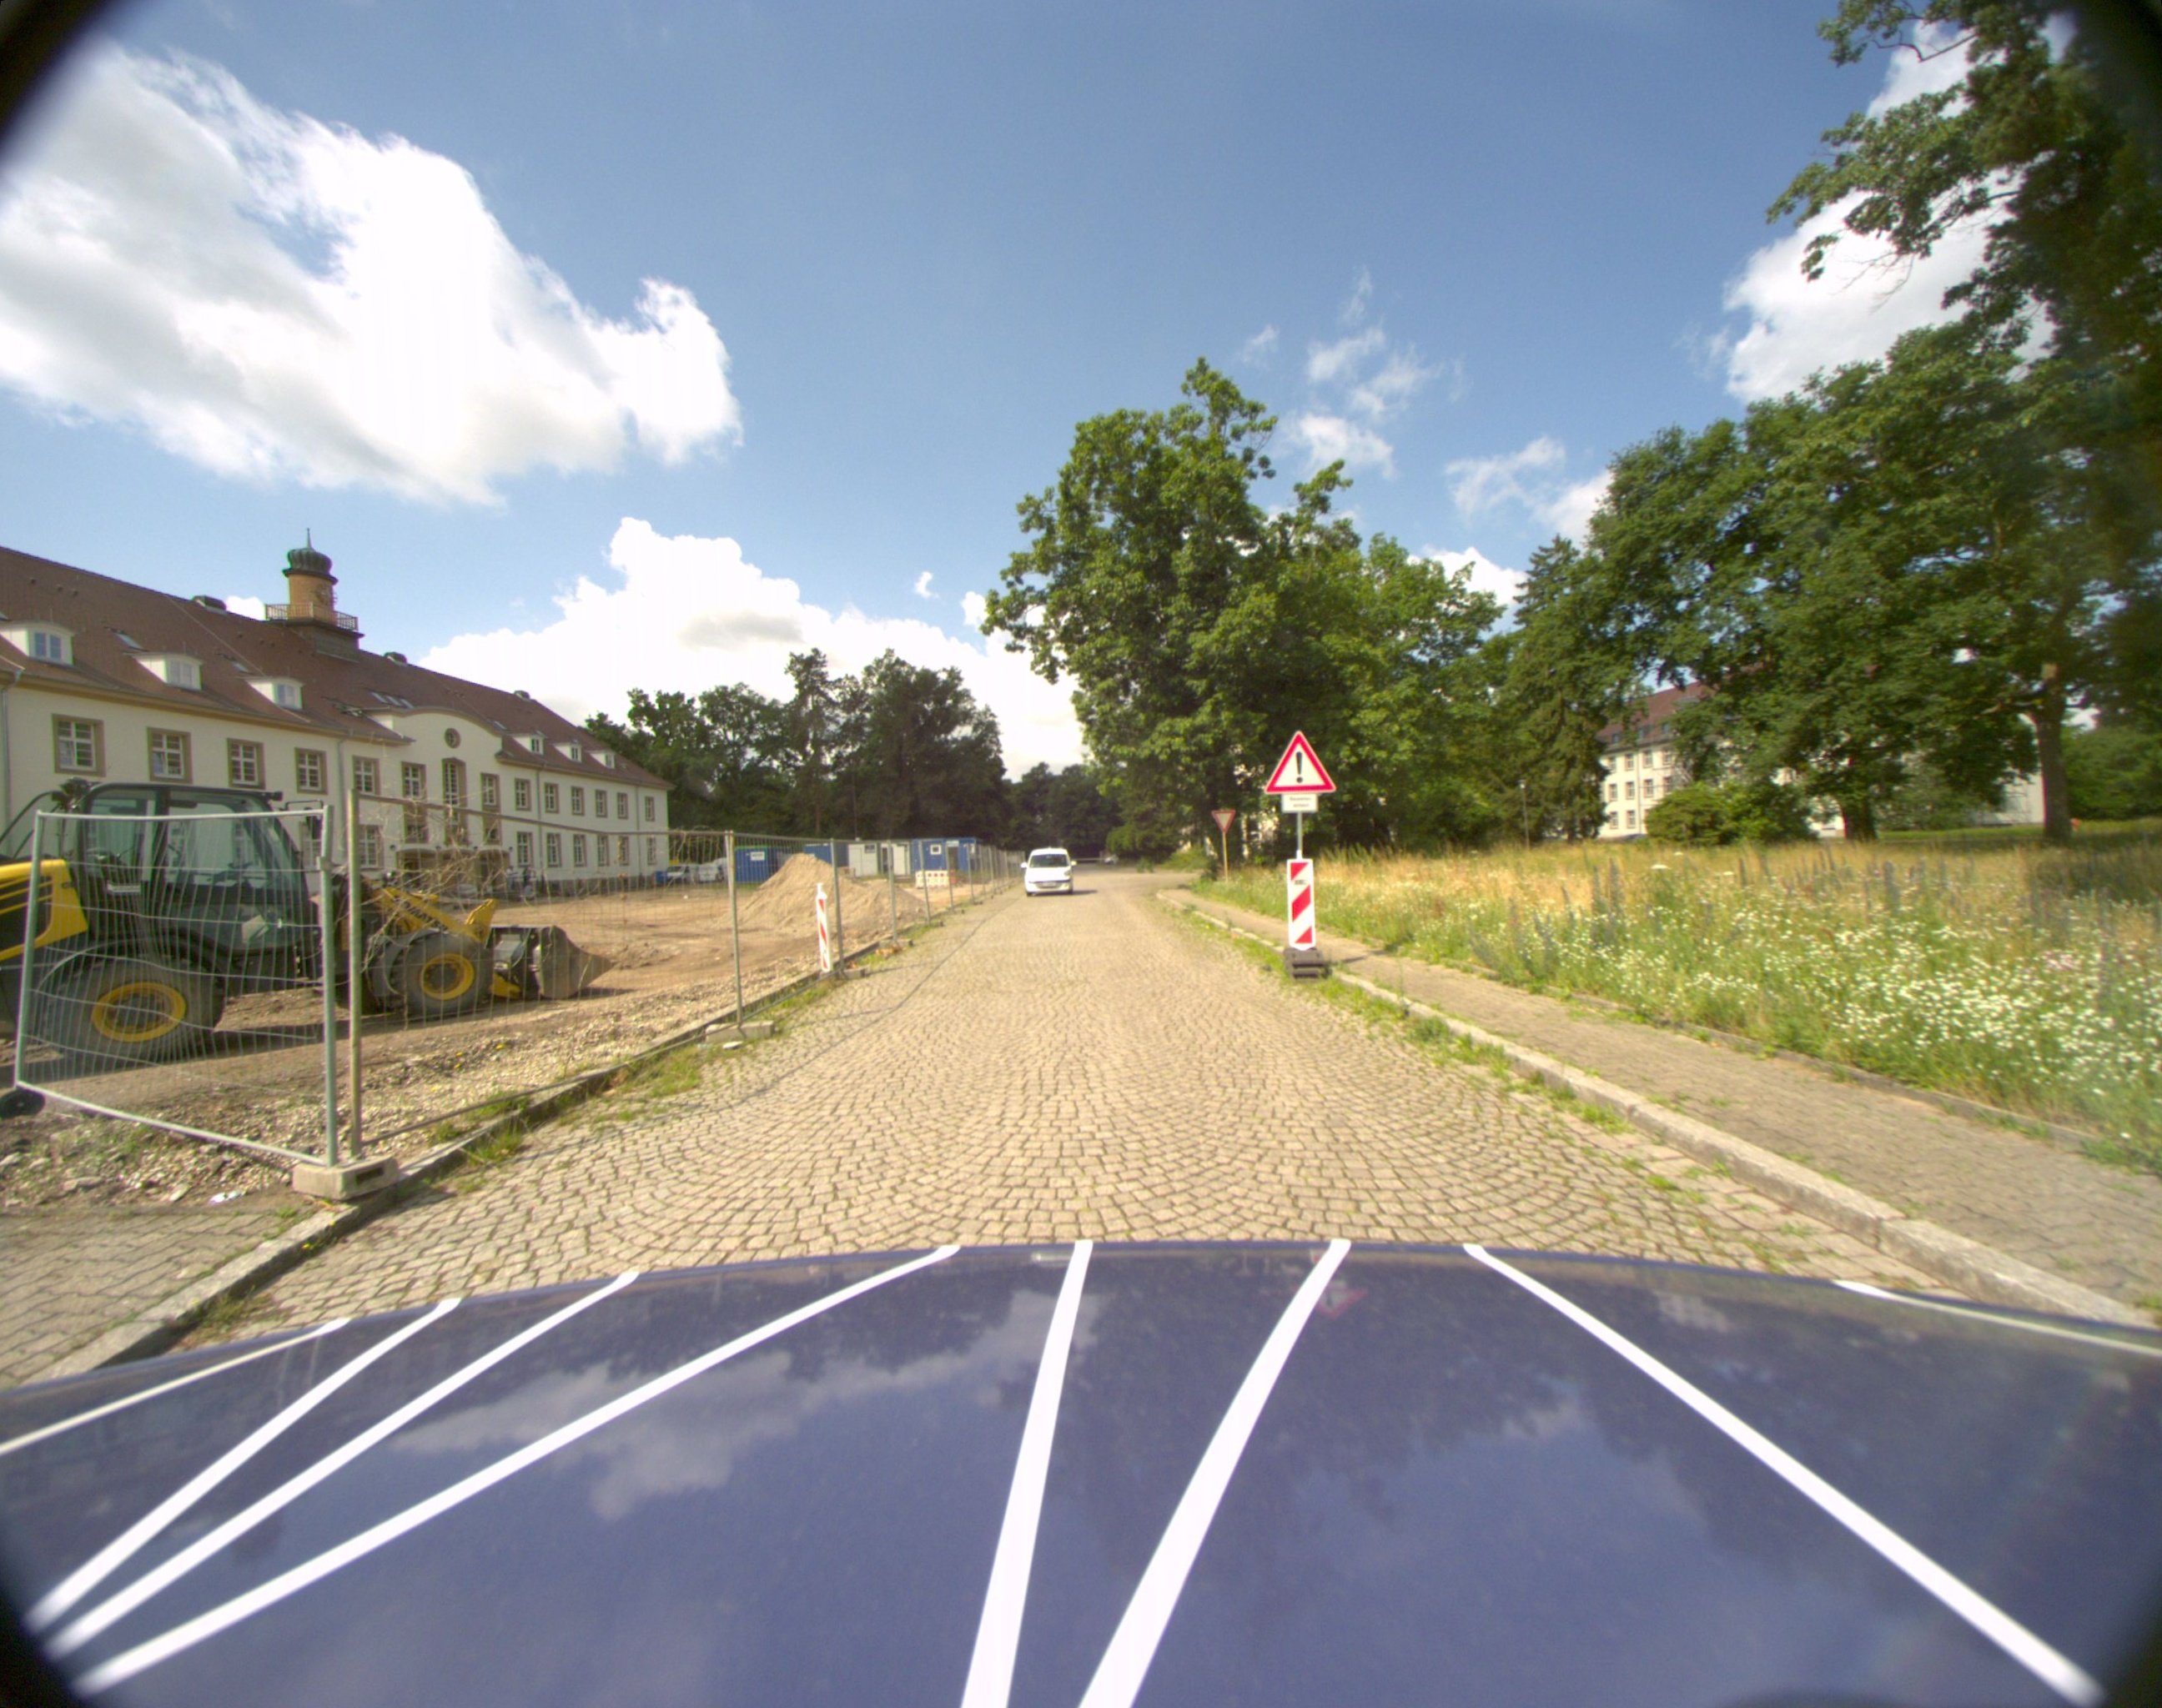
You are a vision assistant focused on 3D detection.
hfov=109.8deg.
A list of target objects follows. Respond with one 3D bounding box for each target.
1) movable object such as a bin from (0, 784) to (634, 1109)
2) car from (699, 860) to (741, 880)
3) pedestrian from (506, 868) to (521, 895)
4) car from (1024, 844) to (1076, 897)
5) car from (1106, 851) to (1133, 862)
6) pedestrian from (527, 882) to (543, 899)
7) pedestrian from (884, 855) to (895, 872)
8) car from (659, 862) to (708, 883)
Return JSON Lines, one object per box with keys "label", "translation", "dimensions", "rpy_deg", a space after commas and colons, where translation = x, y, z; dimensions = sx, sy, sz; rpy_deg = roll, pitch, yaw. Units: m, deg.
{"label": "movable object such as a bin", "translation": [-8.319, 0.725, 8.224], "dimensions": [2.144, 2.507, 5.666], "rpy_deg": [-1, 0, 28]}
{"label": "car", "translation": [-33.030, 1.441, 69.685], "dimensions": [1.802, 1.674, 4.039], "rpy_deg": [-2, 1, 0]}
{"label": "pedestrian", "translation": [-37.378, 1.802, 50.025], "dimensions": [0.490, 1.777, 0.507], "rpy_deg": [-2, 1, 22]}
{"label": "car", "translation": [-1.282, 0.628, 30.242], "dimensions": [1.839, 1.857, 4.829], "rpy_deg": [-2, -1, -3]}
{"label": "car", "translation": [5.962, 0.402, 118.032], "dimensions": [4.084, 1.634, 1.767], "rpy_deg": [-2, 1, -1]}
{"label": "pedestrian", "translation": [-35.930, 2.398, 49.979], "dimensions": [0.491, 1.108, 0.709], "rpy_deg": [-3, 1, -2]}
{"label": "pedestrian", "translation": [-14.782, 0.720, 58.593], "dimensions": [0.602, 1.235, 0.682], "rpy_deg": [-3, 1, -2]}
{"label": "car", "translation": [-36.190, 1.642, 69.298], "dimensions": [1.884, 1.718, 4.707], "rpy_deg": [-2, 1, 0]}
